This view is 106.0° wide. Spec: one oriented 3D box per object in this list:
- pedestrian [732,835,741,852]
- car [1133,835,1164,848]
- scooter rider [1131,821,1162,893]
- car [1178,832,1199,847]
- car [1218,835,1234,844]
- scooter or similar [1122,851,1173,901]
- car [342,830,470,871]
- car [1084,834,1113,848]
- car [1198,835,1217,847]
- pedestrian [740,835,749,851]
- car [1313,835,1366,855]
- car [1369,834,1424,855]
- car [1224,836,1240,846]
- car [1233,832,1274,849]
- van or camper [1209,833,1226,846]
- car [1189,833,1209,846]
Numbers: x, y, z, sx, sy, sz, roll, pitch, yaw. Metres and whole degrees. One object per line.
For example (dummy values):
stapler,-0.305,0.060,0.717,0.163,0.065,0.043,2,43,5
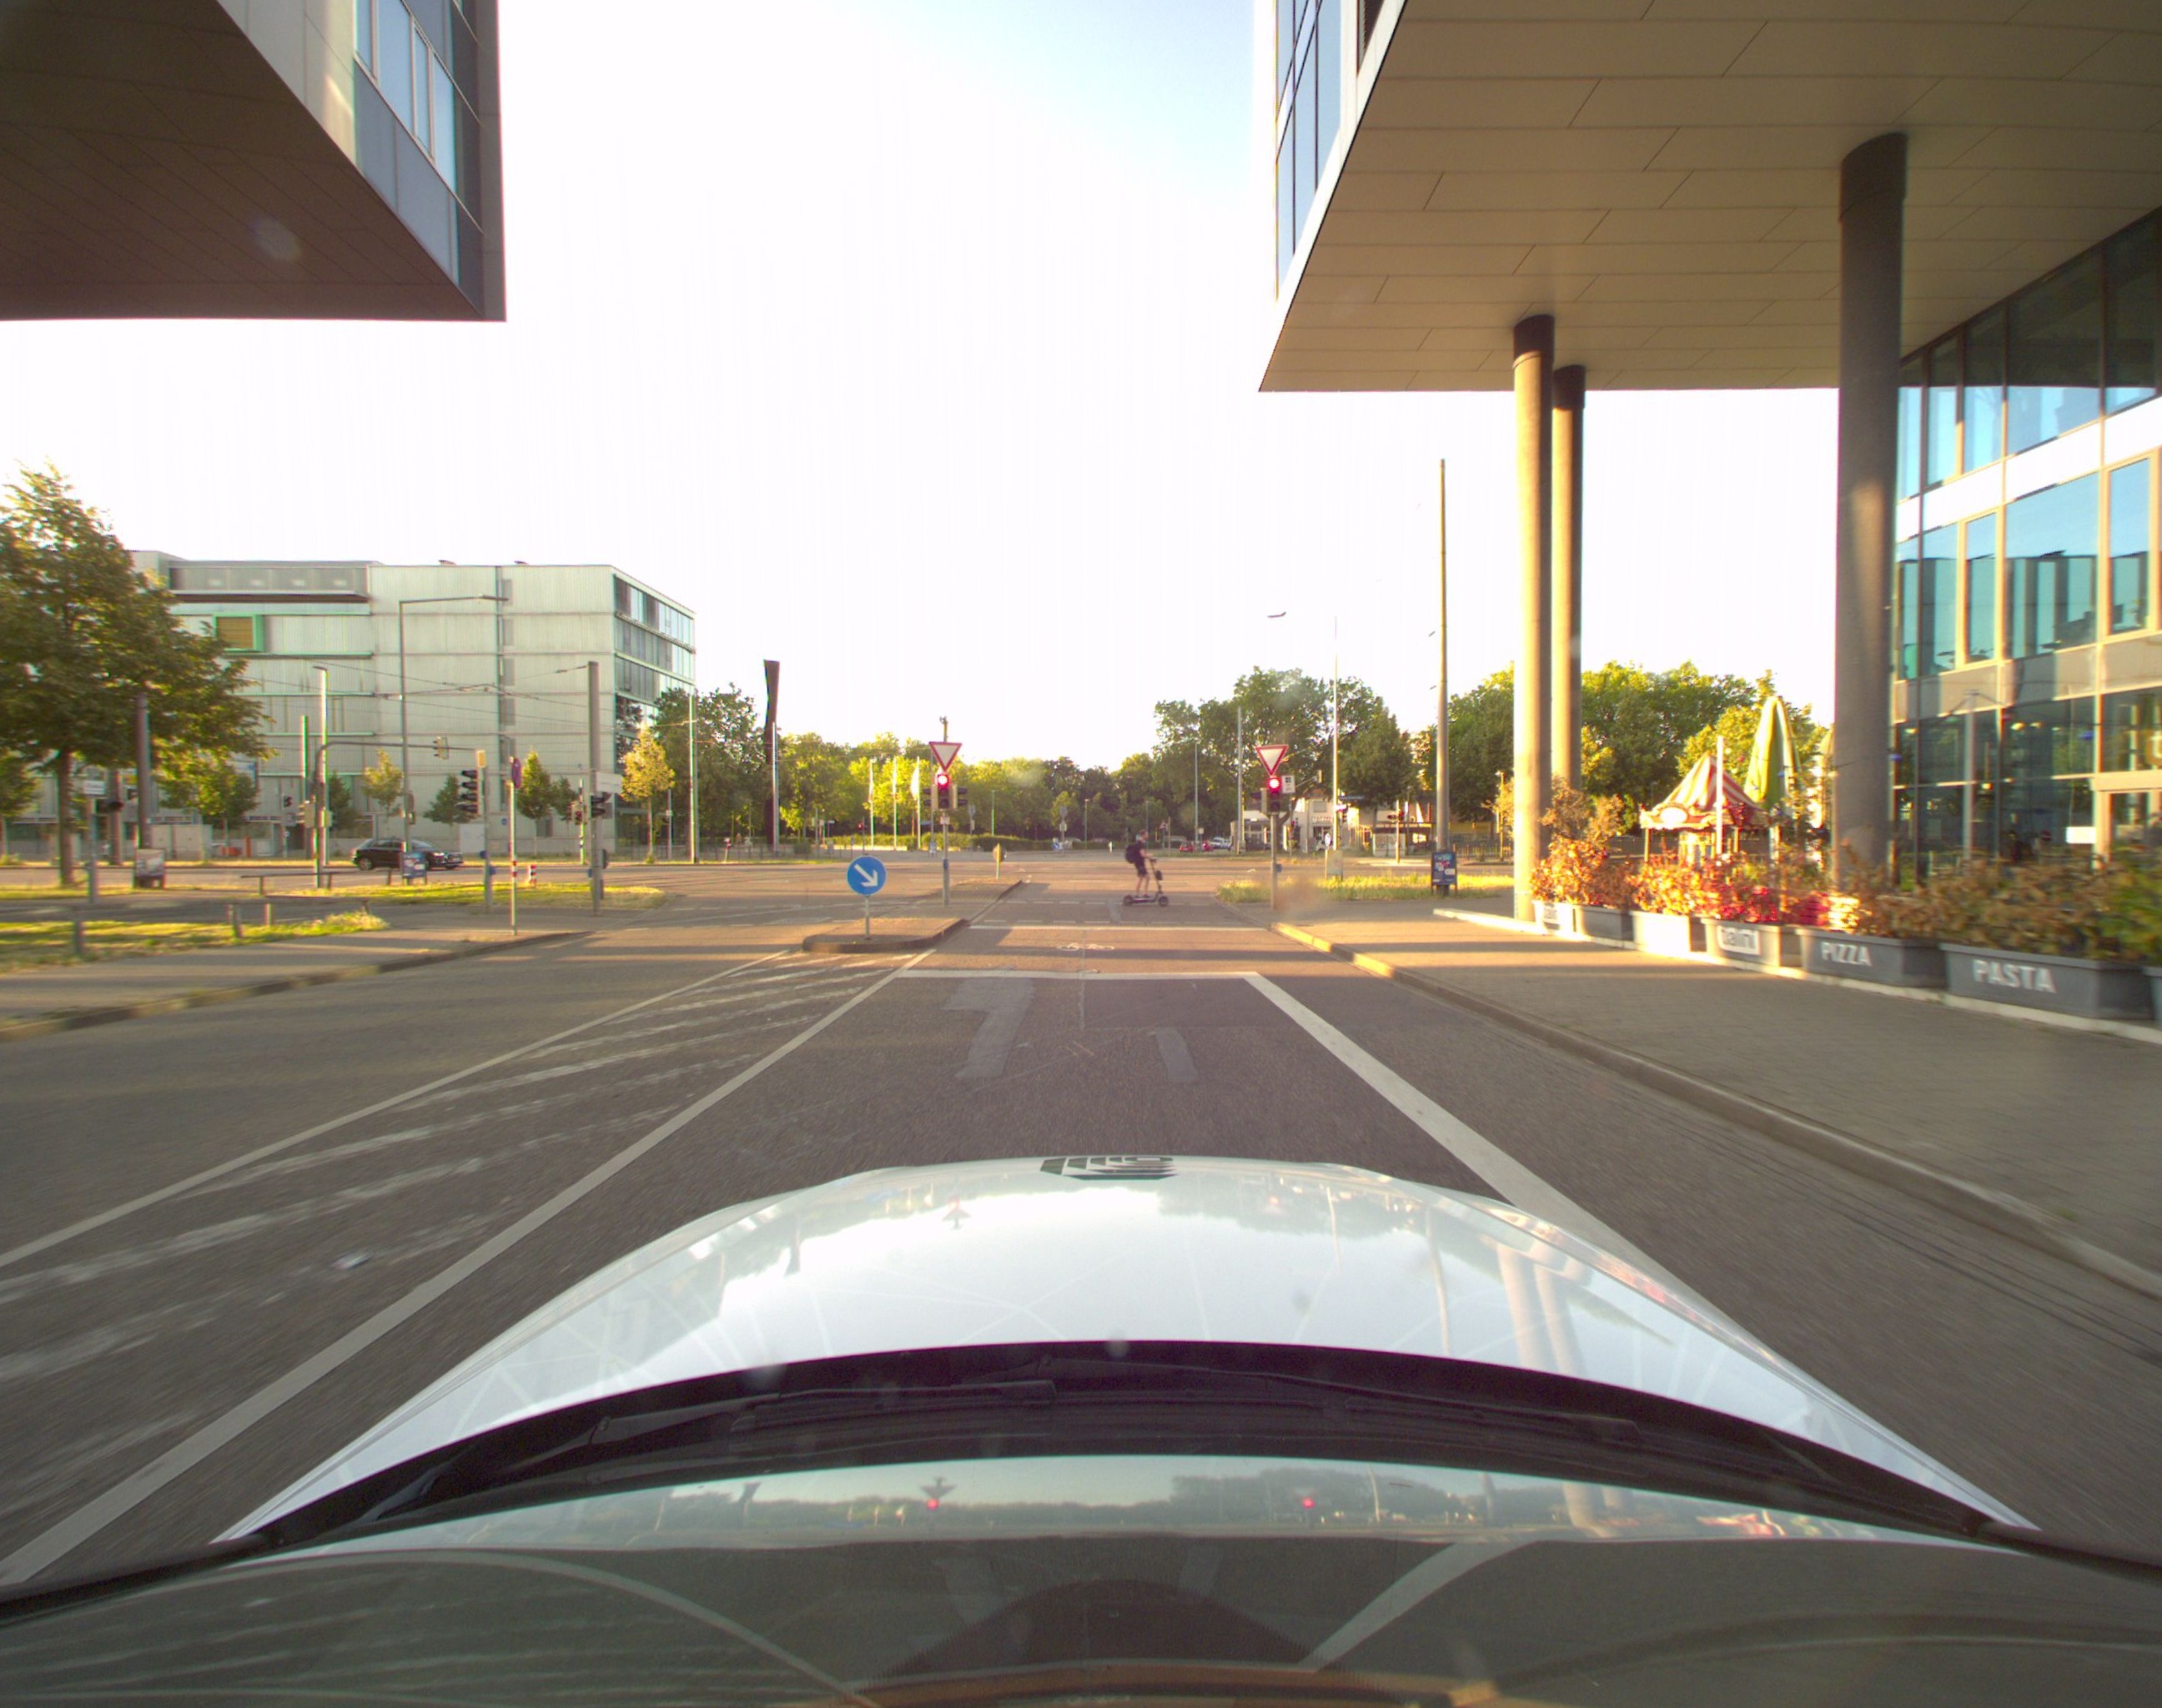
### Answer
pedestrian,-41.226,-1.309,97.442,0.690,2.013,0.702,0,2,21
car,10.605,-1.948,127.707,4.658,1.868,2.018,0,2,8
scooter rider,1.648,0.071,20.470,0.704,1.782,0.442,-1,2,-3
car,13.358,-1.756,100.749,1.483,1.760,3.424,1,3,28
car,24.775,-2.486,139.247,1.483,1.606,3.425,1,3,31
scooter or similar,1.660,0.543,20.480,1.210,1.200,0.503,-1,2,-3
car,-32.393,-0.188,39.185,4.453,1.816,1.945,-1,2,0
car,2.436,-1.789,114.350,4.048,1.904,1.788,-1,2,0
car,16.764,-1.738,108.049,1.483,1.606,3.424,1,3,28
pedestrian,-40.757,-1.342,98.749,0.690,2.013,0.702,0,2,21
car,24.493,-0.875,77.224,4.448,1.816,1.947,-1,2,3
car,29.676,-0.906,76.615,4.448,1.816,1.947,-1,2,3
car,22.170,-1.918,119.556,1.483,1.477,3.103,1,3,28
car,19.846,-1.579,93.881,4.443,1.816,1.949,0,2,7
van or camper,22.751,-2.415,135.571,1.609,1.981,3.831,1,3,31
car,15.119,-1.915,104.315,1.483,1.606,3.424,1,3,28
